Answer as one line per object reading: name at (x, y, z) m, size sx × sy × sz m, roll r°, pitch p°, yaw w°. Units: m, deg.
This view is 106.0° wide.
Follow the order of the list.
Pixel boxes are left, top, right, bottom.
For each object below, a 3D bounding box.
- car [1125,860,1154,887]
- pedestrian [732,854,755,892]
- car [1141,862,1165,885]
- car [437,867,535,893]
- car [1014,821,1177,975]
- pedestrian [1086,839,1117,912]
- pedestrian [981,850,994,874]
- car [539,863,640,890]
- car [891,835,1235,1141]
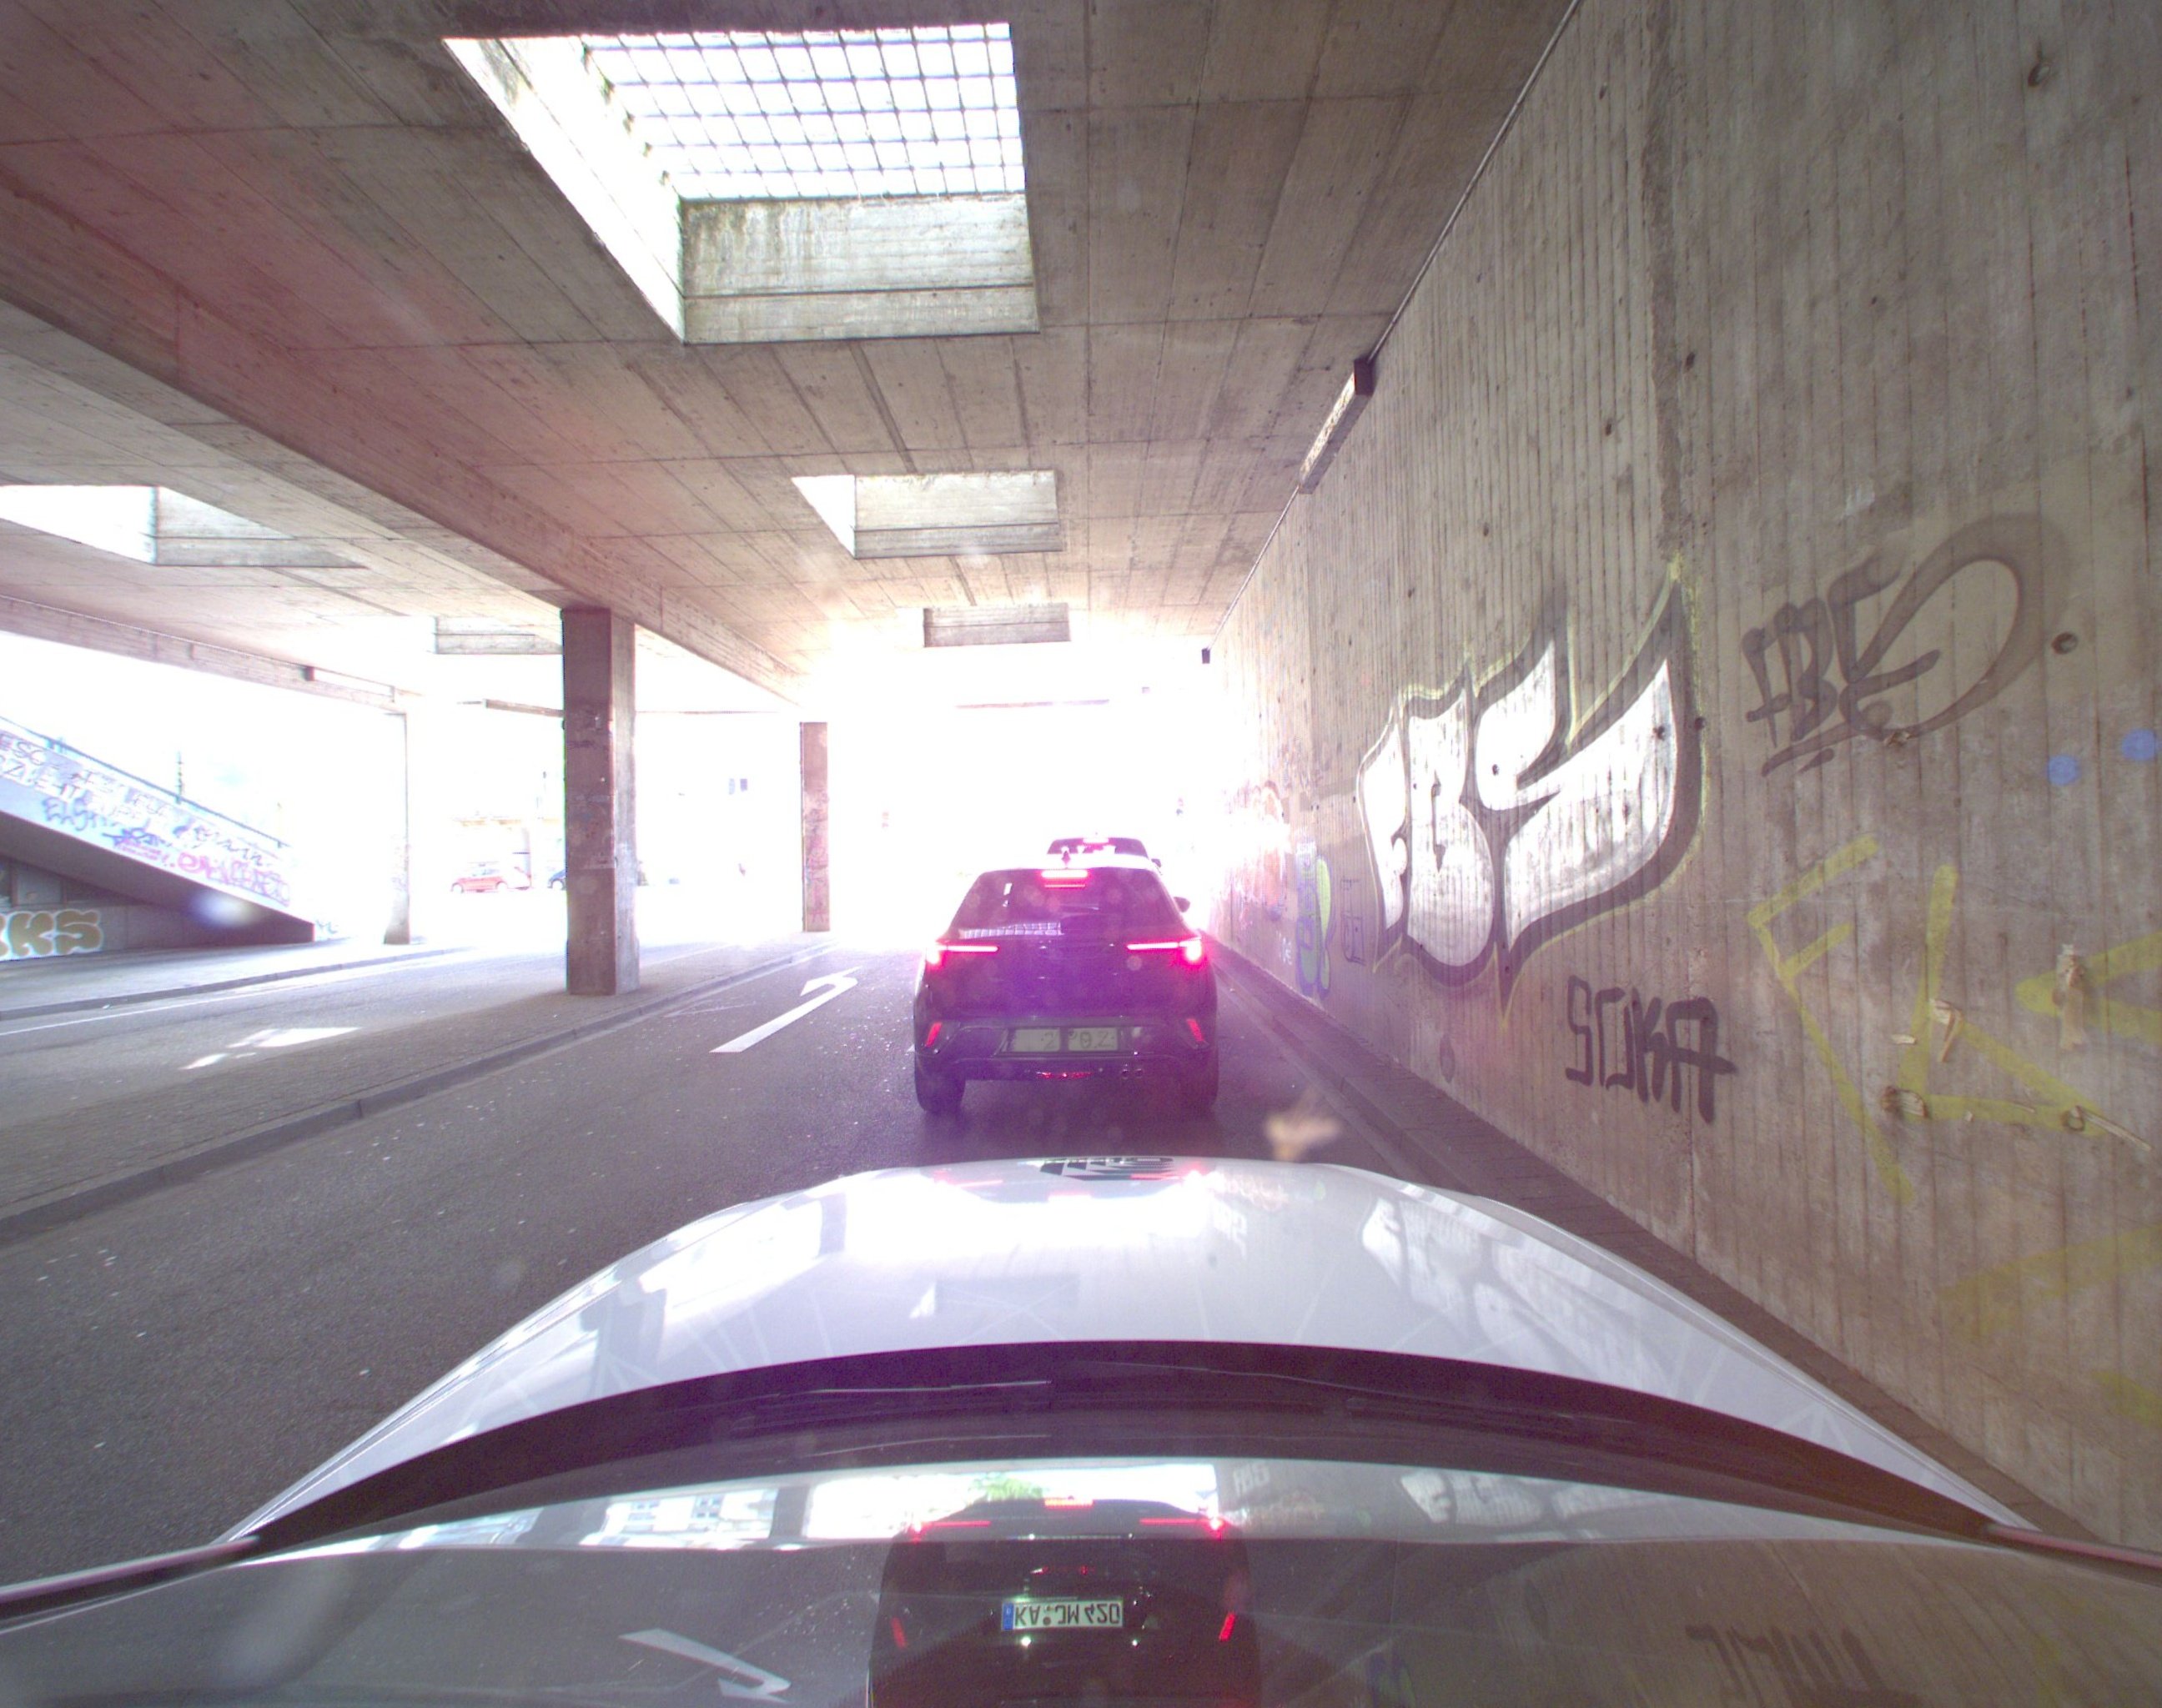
car at (4.545, 1.449, 62.588) m, size 1.983 × 1.970 × 4.172 m, roll 0°, pitch -1°, yaw 7°
pedestrian at (-14.763, 0.835, 35.598) m, size 0.669 × 1.637 × 0.741 m, roll 0°, pitch -1°, yaw 1°
car at (6.433, 1.720, 72.195) m, size 1.983 × 1.970 × 4.172 m, roll 0°, pitch -1°, yaw 7°
car at (-33.008, 1.424, 45.234) m, size 3.975 × 1.409 × 1.925 m, roll 0°, pitch -1°, yaw -1°
car at (0.248, 0.544, 12.186) m, size 1.986 × 1.871 × 4.002 m, roll -2°, pitch 0°, yaw 2°
pedestrian at (0.505, 0.519, 19.961) m, size 0.728 × 1.734 × 0.874 m, roll 0°, pitch -1°, yaw 1°
pedestrian at (-8.134, 0.694, 71.012) m, size 0.887 × 2.088 × 0.810 m, roll 0°, pitch -1°, yaw 9°
car at (-27.290, 1.233, 45.324) m, size 4.393 × 1.409 × 1.925 m, roll 0°, pitch -1°, yaw -1°
car at (-0.027, 0.654, 6.183) m, size 1.758 × 1.571 × 4.002 m, roll 0°, pitch 1°, yaw 2°
